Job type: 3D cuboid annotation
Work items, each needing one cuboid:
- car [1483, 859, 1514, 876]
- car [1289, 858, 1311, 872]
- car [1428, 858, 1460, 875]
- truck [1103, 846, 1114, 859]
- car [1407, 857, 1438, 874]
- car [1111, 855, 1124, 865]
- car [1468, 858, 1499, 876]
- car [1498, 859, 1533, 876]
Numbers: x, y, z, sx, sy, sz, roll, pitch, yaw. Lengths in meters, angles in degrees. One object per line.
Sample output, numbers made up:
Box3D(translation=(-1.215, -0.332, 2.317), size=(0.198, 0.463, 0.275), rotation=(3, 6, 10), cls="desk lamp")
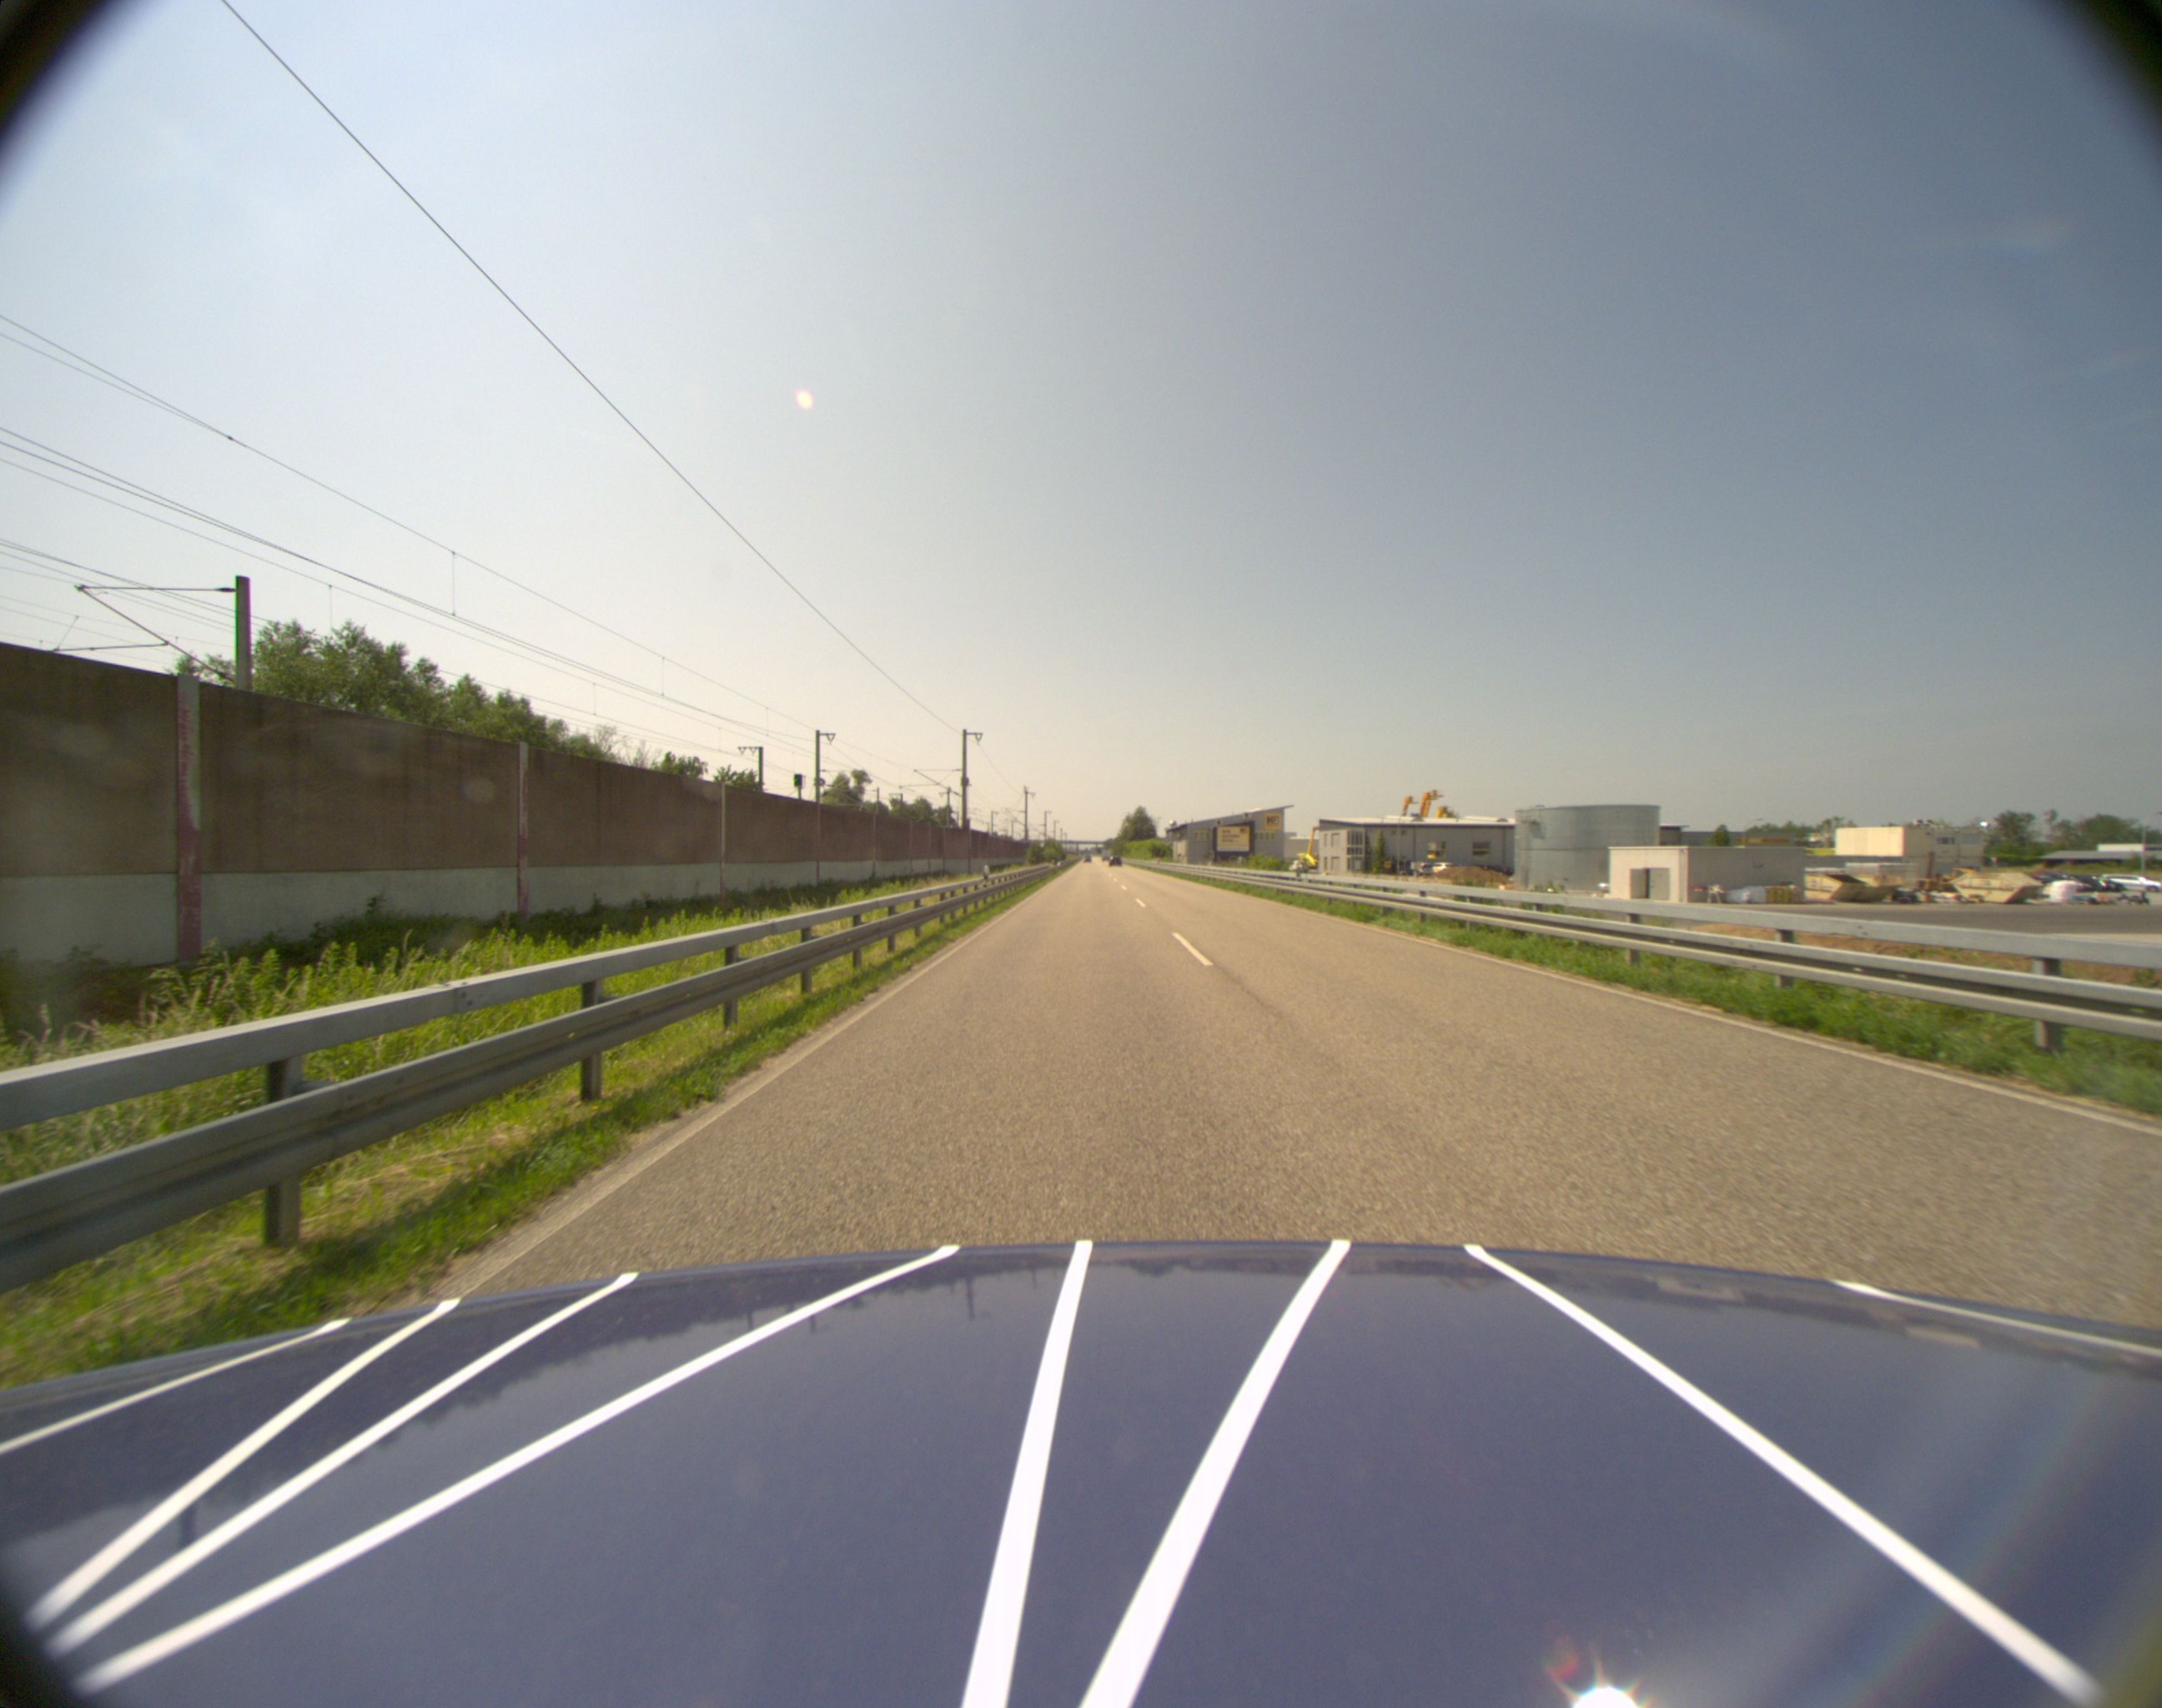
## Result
Box3D(translation=(52.418, 1.652, 95.436), size=(1.834, 2.002, 3.527), rotation=(2, 0, 1), cls="car")
Box3D(translation=(27.197, 1.328, 94.576), size=(1.555, 1.664, 3.311), rotation=(0, 0, -4), cls="car")
Box3D(translation=(45.504, 1.519, 95.284), size=(1.999, 2.002, 3.999), rotation=(-1, 0, -1), cls="car")
Box3D(translation=(6.617, -0.398, 182.205), size=(2.242, 2.950, 6.317), rotation=(-2, 1, -1), cls="truck")
Box3D(translation=(42.732, 1.379, 95.167), size=(1.999, 2.002, 3.999), rotation=(0, 0, -1), cls="car")
Box3D(translation=(5.127, 0.842, 106.770), size=(1.544, 1.426, 3.654), rotation=(-1, 0, 0), cls="car")
Box3D(translation=(50.286, 1.606, 95.020), size=(1.834, 2.002, 3.689), rotation=(2, 0, 1), cls="car")
Box3D(translation=(54.575, 1.693, 95.542), size=(1.999, 2.002, 3.999), rotation=(1, 0, -1), cls="car")
